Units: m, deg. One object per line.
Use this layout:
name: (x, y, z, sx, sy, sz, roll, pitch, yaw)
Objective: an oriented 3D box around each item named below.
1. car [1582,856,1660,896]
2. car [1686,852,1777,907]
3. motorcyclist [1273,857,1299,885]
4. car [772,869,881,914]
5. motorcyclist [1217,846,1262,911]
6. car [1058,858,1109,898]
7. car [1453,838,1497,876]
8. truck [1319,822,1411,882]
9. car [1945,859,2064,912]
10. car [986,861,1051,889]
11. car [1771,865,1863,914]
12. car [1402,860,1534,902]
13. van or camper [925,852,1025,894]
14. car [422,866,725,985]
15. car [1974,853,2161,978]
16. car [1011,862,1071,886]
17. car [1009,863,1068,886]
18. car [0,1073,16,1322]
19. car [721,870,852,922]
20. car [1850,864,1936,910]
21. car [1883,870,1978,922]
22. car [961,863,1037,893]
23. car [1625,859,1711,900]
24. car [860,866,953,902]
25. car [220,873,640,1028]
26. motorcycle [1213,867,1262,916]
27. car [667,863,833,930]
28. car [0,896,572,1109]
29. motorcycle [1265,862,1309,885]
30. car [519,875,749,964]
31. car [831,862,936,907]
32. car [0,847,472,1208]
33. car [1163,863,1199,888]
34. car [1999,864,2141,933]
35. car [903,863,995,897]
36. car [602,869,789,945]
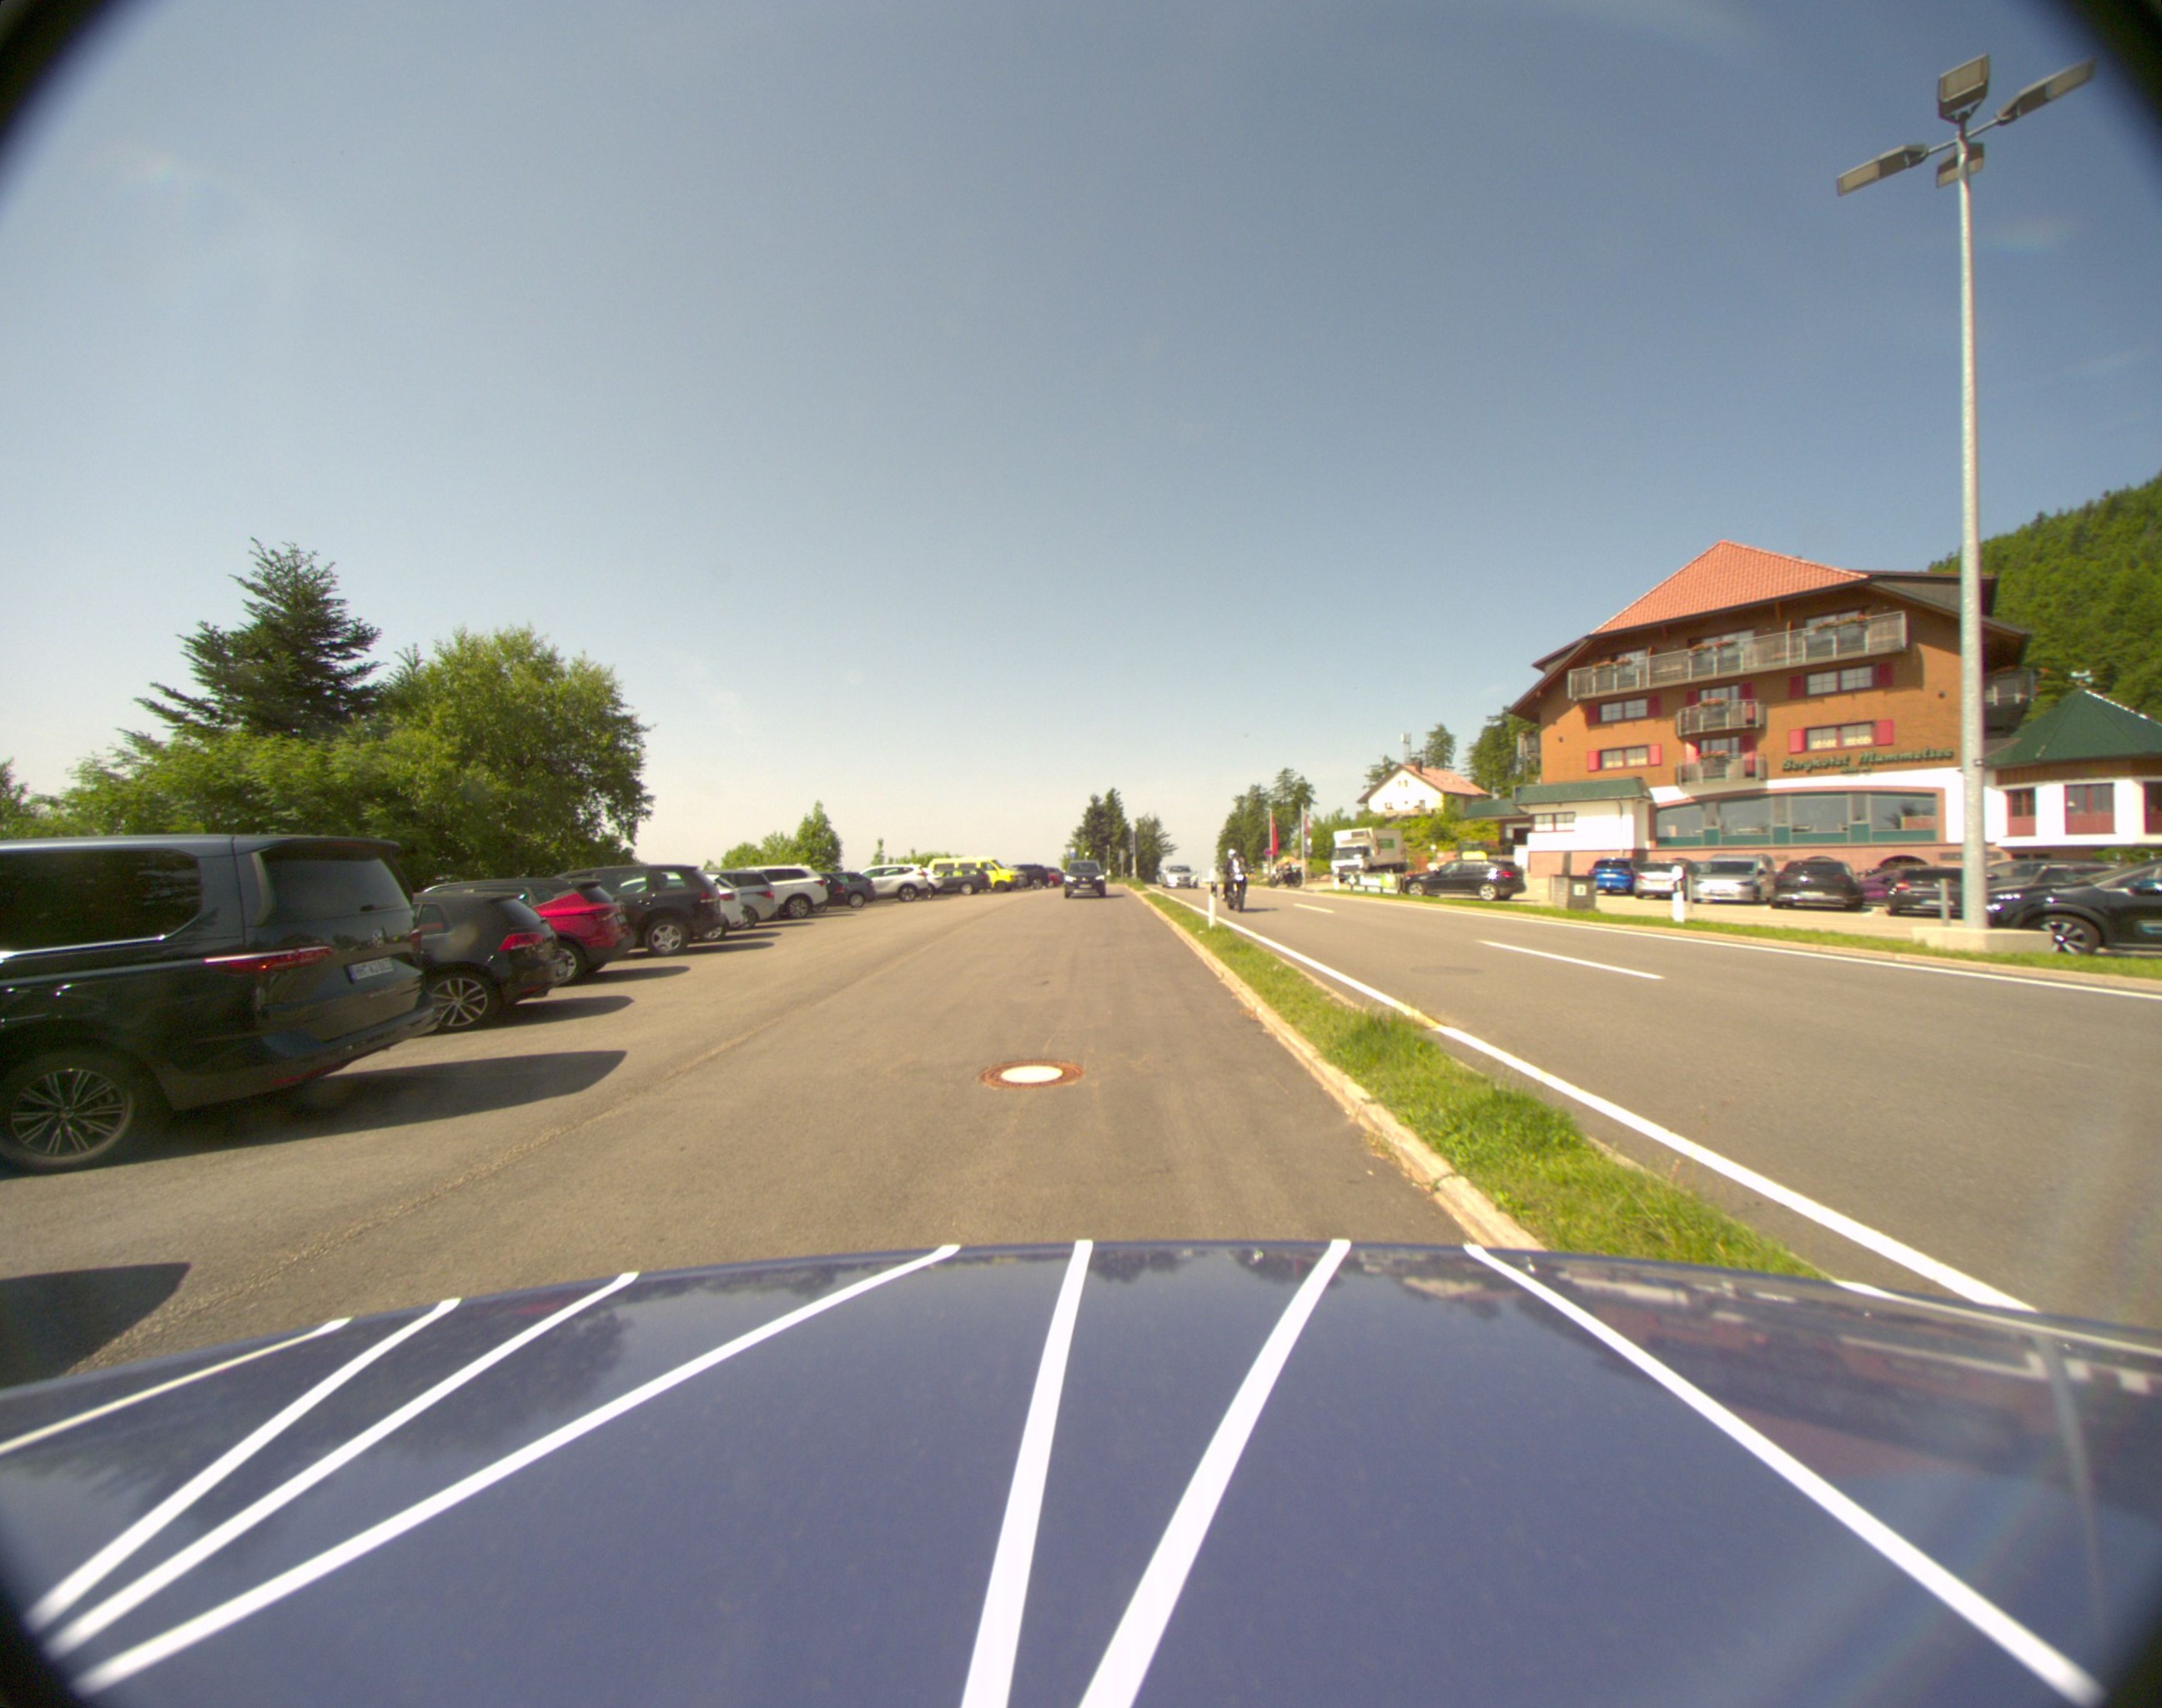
car: (24.002, 0.927, 33.730, 4.555, 1.654, 1.934, 0, -1, -43)
car: (23.726, 0.913, 27.664, 4.540, 1.852, 1.830, 2, -2, -40)
motorcyclist: (12.948, 1.079, 47.960, 1.248, 1.710, 1.064, -1, 0, -8)
car: (-9.825, 1.405, 29.381, 3.809, 1.450, 1.660, -3, 0, -20)
motorcyclist: (4.397, 0.658, 21.161, 0.925, 1.708, 1.452, -1, 1, 0)
car: (0.179, 1.022, 32.982, 1.984, 1.607, 4.151, -1, -1, 3)
car: (26.407, 0.230, 51.035, 1.996, 2.481, 4.007, 0, -1, 19)
truck: (20.881, -0.174, 55.497, 3.062, 3.948, 8.789, -4, -1, 42)
car: (28.349, 0.937, 23.458, 1.929, 1.474, 4.009, 0, -1, 45)
car: (-3.911, 1.310, 48.091, 3.998, 1.604, 1.916, -2, -1, -3)
car: (23.408, 1.092, 24.135, 4.009, 1.422, 1.909, 2, -2, -43)
car: (14.921, 1.018, 29.461, 1.812, 1.531, 4.181, 1, -2, -43)
van or camper: (-5.873, 1.062, 42.392, 5.100, 2.001, 1.884, -3, -1, 7)
car: (-9.016, 1.189, 14.026, 4.278, 1.685, 1.987, -3, 0, -24)
car: (14.348, 0.758, 9.514, 1.787, 1.542, 3.989, 1, -1, -37)
car: (-2.998, 1.494, 56.944, 4.409, 1.559, 1.908, -2, -1, -3)
car: (-3.040, 1.467, 53.684, 3.999, 1.500, 1.842, -1, -2, -7)
car: (-5.769, 1.177, 1.404, 4.003, 1.434, 1.837, -3, 0, -21)
car: (-10.295, 1.408, 26.580, 4.056, 1.452, 1.891, -3, 0, -26)
car: (28.575, 1.122, 26.857, 1.929, 1.474, 4.009, 0, -1, 45)
car: (23.518, 1.107, 21.137, 3.647, 1.313, 1.583, 2, -2, -45)
car: (-4.843, 1.426, 45.294, 4.159, 1.579, 1.706, -2, -1, 6)
car: (23.481, 1.016, 30.356, 4.009, 1.536, 1.994, 2, -2, -41)
car: (-8.209, 1.397, 36.080, 4.099, 1.491, 1.942, -2, 0, -10)
car: (-8.612, 1.178, 10.594, 4.004, 1.580, 1.860, -3, 0, -25)
motorcycle: (4.366, 1.026, 21.363, 0.878, 1.249, 2.277, -1, 0, 0)
car: (-9.878, 1.211, 22.799, 4.234, 1.684, 1.859, -2, 0, -35)
car: (-7.657, 1.284, 7.614, 4.005, 1.406, 1.741, -3, 0, -28)
motorcycle: (12.989, 1.242, 47.952, 2.445, 1.398, 1.005, -1, 0, -8)
car: (-9.403, 1.312, 16.383, 4.004, 1.467, 1.764, -3, 1, -23)
car: (-8.601, 1.292, 33.082, 4.188, 1.640, 1.889, -3, 0, -17)
car: (-7.138, 1.039, 4.707, 4.776, 1.869, 1.964, -3, 0, -17)
car: (6.034, 1.317, 46.071, 1.780, 1.448, 4.002, 0, -1, 2)
car: (23.437, 0.999, 18.152, 4.089, 1.477, 1.711, 2, -2, -43)
car: (-6.807, 1.371, 39.541, 4.361, 1.478, 1.813, -3, -1, 1)
car: (-9.746, 1.272, 19.337, 4.006, 1.540, 1.816, -3, 0, -30)
